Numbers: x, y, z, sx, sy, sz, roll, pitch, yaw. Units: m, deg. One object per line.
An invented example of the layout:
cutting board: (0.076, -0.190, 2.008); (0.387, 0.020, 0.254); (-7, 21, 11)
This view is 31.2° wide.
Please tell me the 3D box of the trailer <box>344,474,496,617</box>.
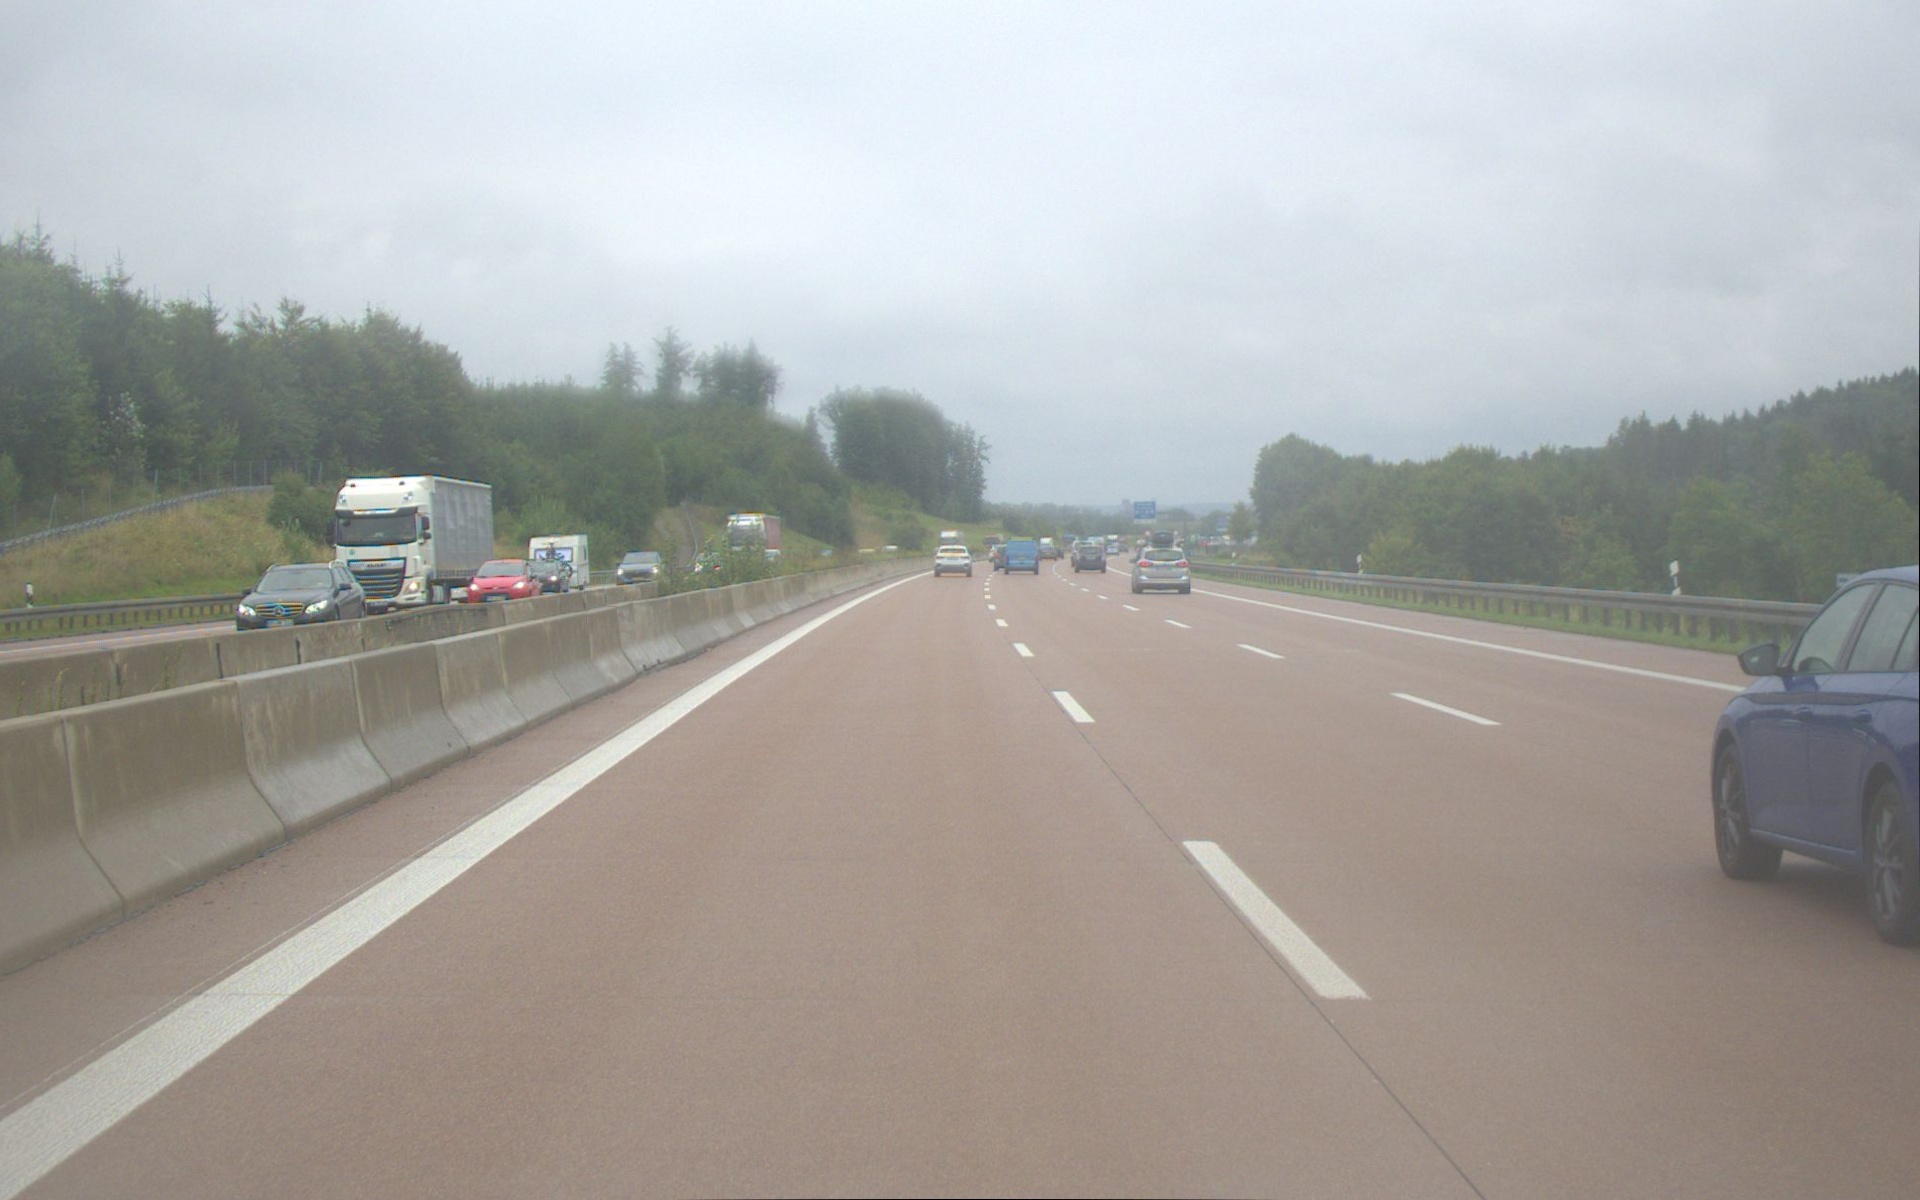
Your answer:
trailer: (-16.847, -1.599, 108.189); (2.739, 4.126, 12.756); (-2, 0, 0)

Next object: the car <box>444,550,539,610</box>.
car: (-12.812, -0.535, 94.196); (1.993, 1.540, 4.280); (-2, 0, 0)

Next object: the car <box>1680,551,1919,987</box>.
car: (4.320, 0.625, 14.236); (1.771, 1.559, 4.146); (1, 0, 0)

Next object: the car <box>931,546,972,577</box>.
car: (-0.453, -1.895, 170.545); (1.874, 1.439, 4.877); (1, 0, -2)

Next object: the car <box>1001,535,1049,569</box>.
car: (3.504, -2.618, 187.413); (2.322, 1.744, 4.877); (1, 0, -2)

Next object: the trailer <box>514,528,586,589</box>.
trailer: (-17.094, -1.762, 143.520); (2.277, 2.403, 5.438); (-3, 1, 0)

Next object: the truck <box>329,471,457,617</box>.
truck: (-16.812, -1.606, 102.262); (2.768, 4.161, 6.001); (-2, 0, 0)

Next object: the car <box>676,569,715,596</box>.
car: (-16.014, -1.040, 208.529); (1.993, 1.570, 4.524); (-1, 0, 0)

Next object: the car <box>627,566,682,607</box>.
car: (-12.406, -0.550, 139.906); (1.692, 1.552, 5.677); (-2, 1, 0)

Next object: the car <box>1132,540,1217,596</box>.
car: (7.083, -1.049, 113.956); (2.322, 1.744, 4.877); (1, 0, -2)

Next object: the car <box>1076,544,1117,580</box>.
car: (7.946, -2.219, 200.179); (1.993, 2.007, 4.000); (1, 0, -2)
